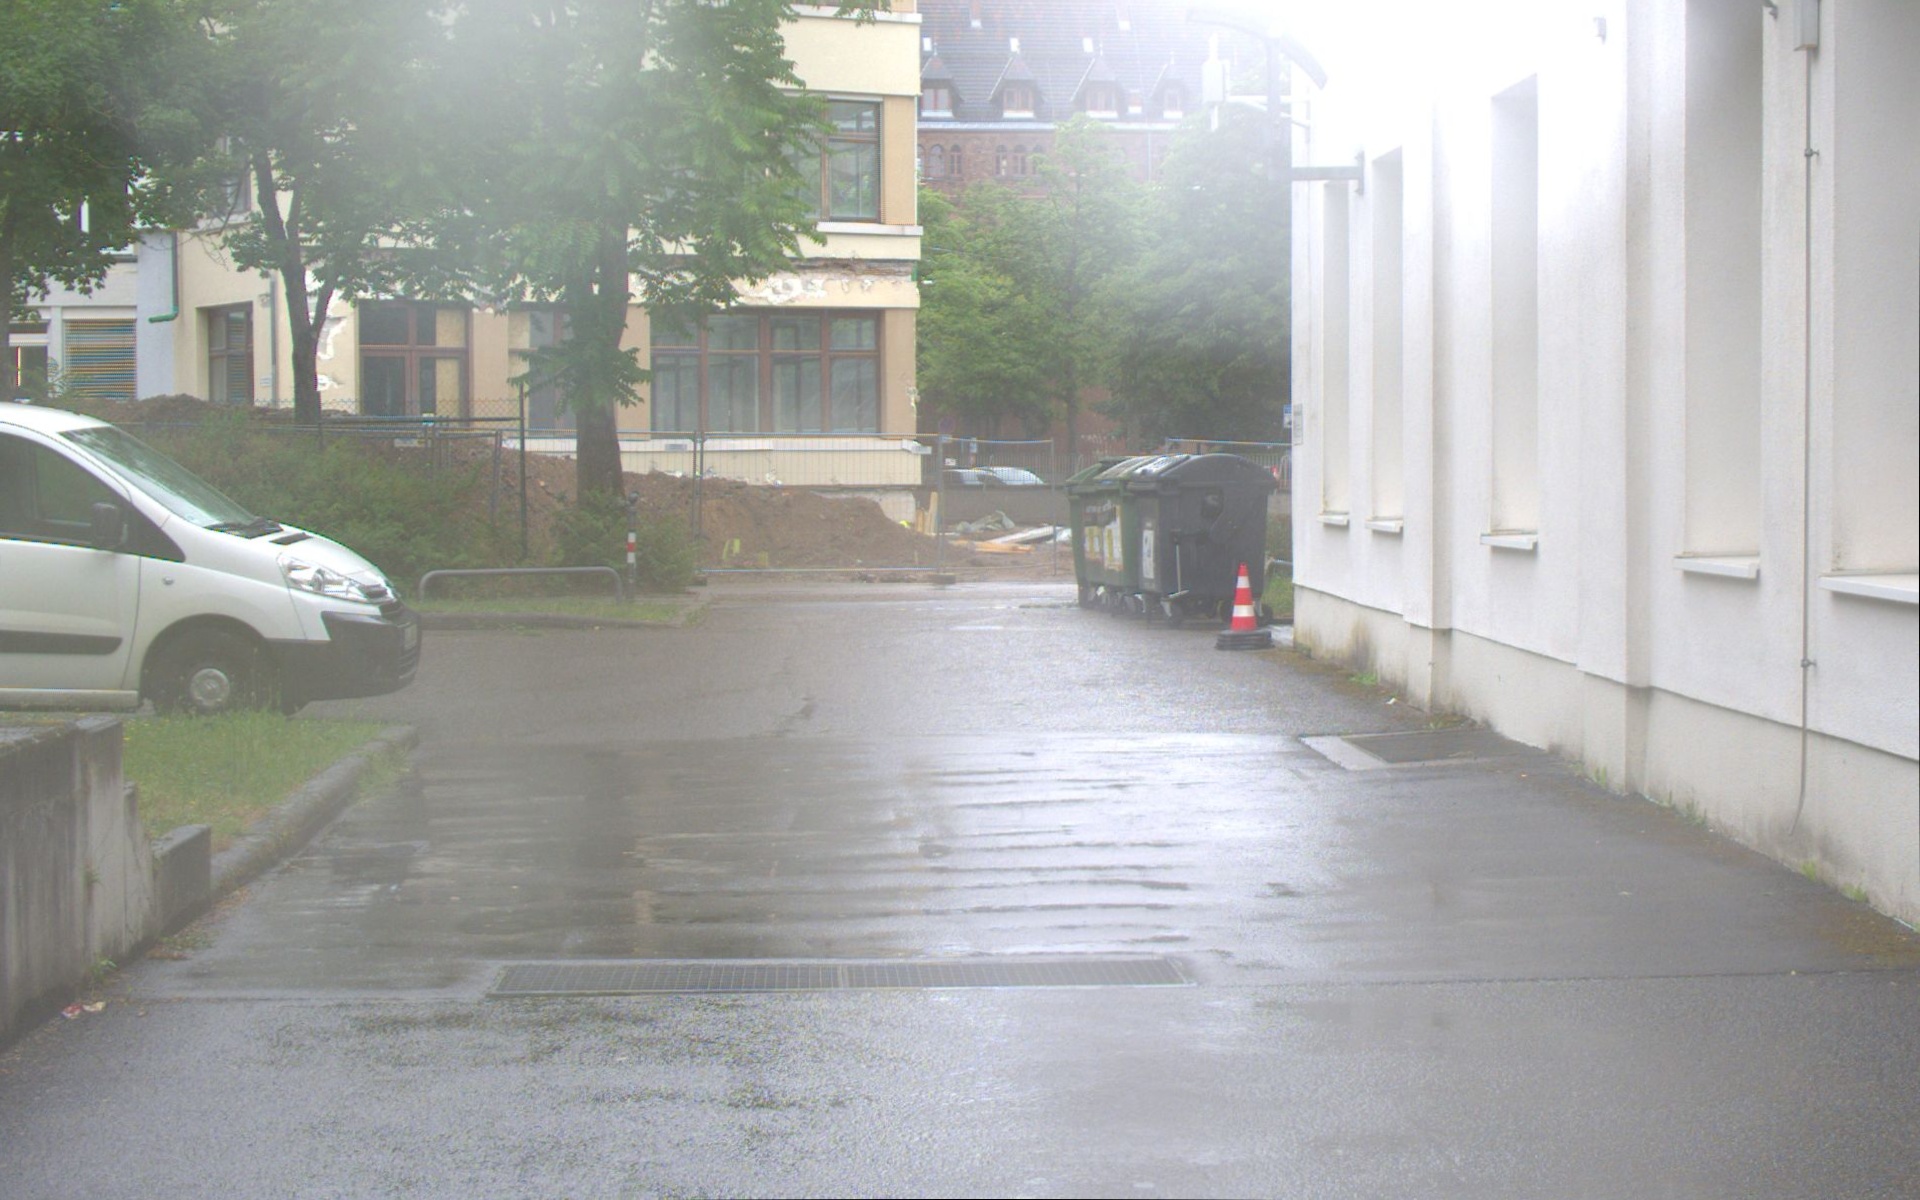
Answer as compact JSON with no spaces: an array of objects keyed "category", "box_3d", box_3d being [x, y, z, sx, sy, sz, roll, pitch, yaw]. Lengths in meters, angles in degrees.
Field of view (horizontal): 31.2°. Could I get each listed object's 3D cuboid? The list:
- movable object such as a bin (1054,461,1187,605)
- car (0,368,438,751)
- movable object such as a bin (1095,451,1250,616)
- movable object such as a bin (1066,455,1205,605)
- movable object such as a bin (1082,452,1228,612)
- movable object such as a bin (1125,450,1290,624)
[{"category":"movable object such as a bin","box_3d":[1.623,-0.675,34.957,1.214,1.432,1.259,0,0,-4]},{"category":"car","box_3d":[-5.477,-0.247,19.269,4.780,2.006,2.000,-1,3,-1]},{"category":"movable object such as a bin","box_3d":[1.877,-0.579,30.577,1.214,1.432,1.294,0,0,-4]},{"category":"movable object such as a bin","box_3d":[1.701,-0.669,33.580,1.214,1.432,1.259,0,0,-4]},{"category":"movable object such as a bin","box_3d":[1.817,-0.628,32.207,1.214,1.463,1.236,0,0,-4]},{"category":"movable object such as a bin","box_3d":[2.067,-0.520,28.889,1.214,1.432,1.236,0,0,-4]}]
